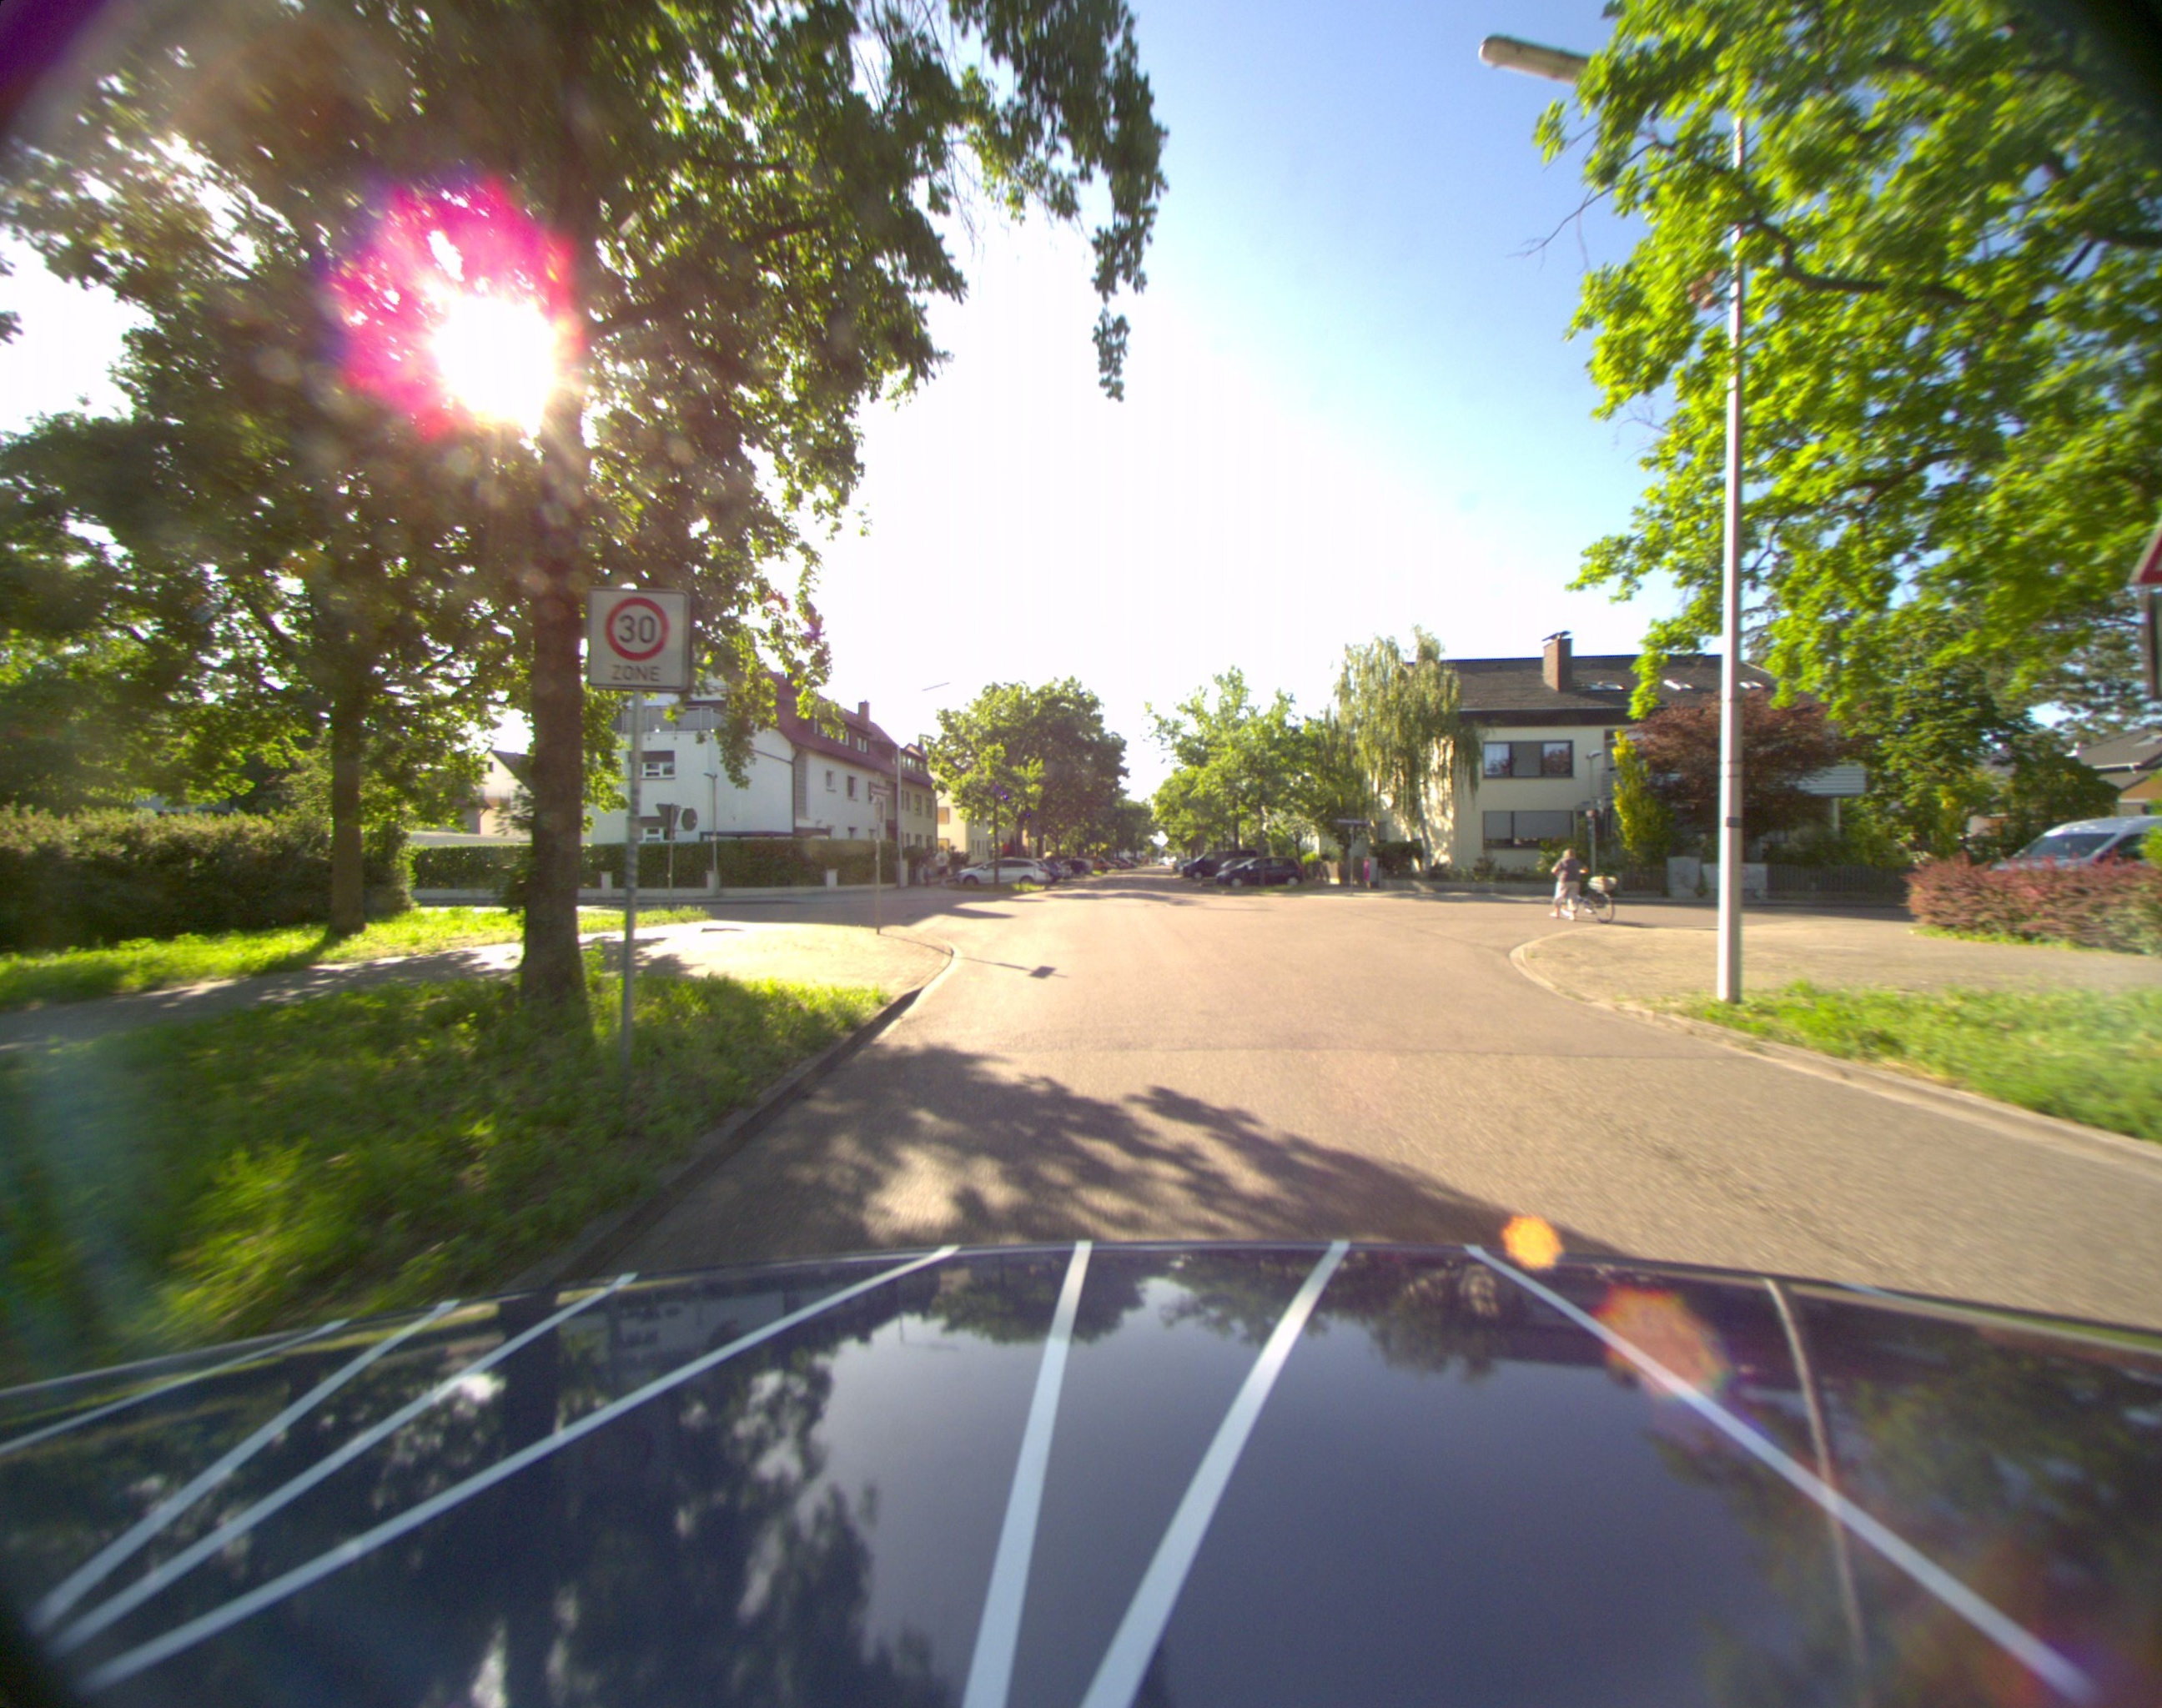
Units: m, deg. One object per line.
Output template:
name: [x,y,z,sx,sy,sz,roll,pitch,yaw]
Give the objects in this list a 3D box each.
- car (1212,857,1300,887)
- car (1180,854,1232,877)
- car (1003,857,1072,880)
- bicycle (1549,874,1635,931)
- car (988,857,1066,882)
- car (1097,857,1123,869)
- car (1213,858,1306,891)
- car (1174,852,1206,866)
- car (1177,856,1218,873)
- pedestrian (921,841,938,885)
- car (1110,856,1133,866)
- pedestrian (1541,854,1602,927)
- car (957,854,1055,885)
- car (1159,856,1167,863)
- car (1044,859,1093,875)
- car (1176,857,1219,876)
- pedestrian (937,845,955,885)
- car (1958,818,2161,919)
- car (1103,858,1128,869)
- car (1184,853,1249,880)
car: [8.873,0.908,38.750,4.035,1.470,1.941,0,0,1]
car: [9.934,0.921,60.606,4.034,1.767,1.942,0,0,5]
car: [-2.858,0.933,50.724,4.512,1.470,1.941,0,0,1]
bicycle: [11.172,1.032,16.688,0.640,1.081,1.891,0,2,3]
car: [-3.188,0.898,45.612,4.512,1.470,1.941,0,0,1]
car: [4.611,1.439,119.773,4.034,1.767,1.942,0,0,5]
car: [8.275,0.938,35.560,4.034,1.470,1.942,0,0,5]
car: [13.933,0.681,97.131,4.034,1.767,1.942,0,0,5]
car: [11.848,1.071,77.390,4.034,1.767,1.942,0,0,5]
pedestrian: [-7.083,0.415,35.576,0.610,2.002,0.834,0,1,1]
car: [7.390,1.309,138.712,4.034,1.767,1.942,0,0,5]
pedestrian: [10.807,0.791,16.767,0.728,1.534,0.867,0,2,-3]
car: [-3.589,0.746,36.949,4.512,1.470,1.941,0,0,1]
car: [20.557,1.422,190.623,1.939,1.767,4.041,0,0,6]
car: [-1.165,1.185,71.744,4.512,1.470,1.941,0,0,1]
car: [11.155,1.154,72.967,4.034,1.767,1.942,0,0,5]
pedestrian: [-6.282,0.502,35.423,0.665,1.855,0.869,0,1,1]
car: [26.719,0.346,19.349,5.814,2.439,2.001,0,0,9]
car: [5.827,1.573,127.213,4.034,1.767,1.942,0,0,5]
car: [8.921,0.807,50.303,4.034,1.767,1.942,0,0,5]
